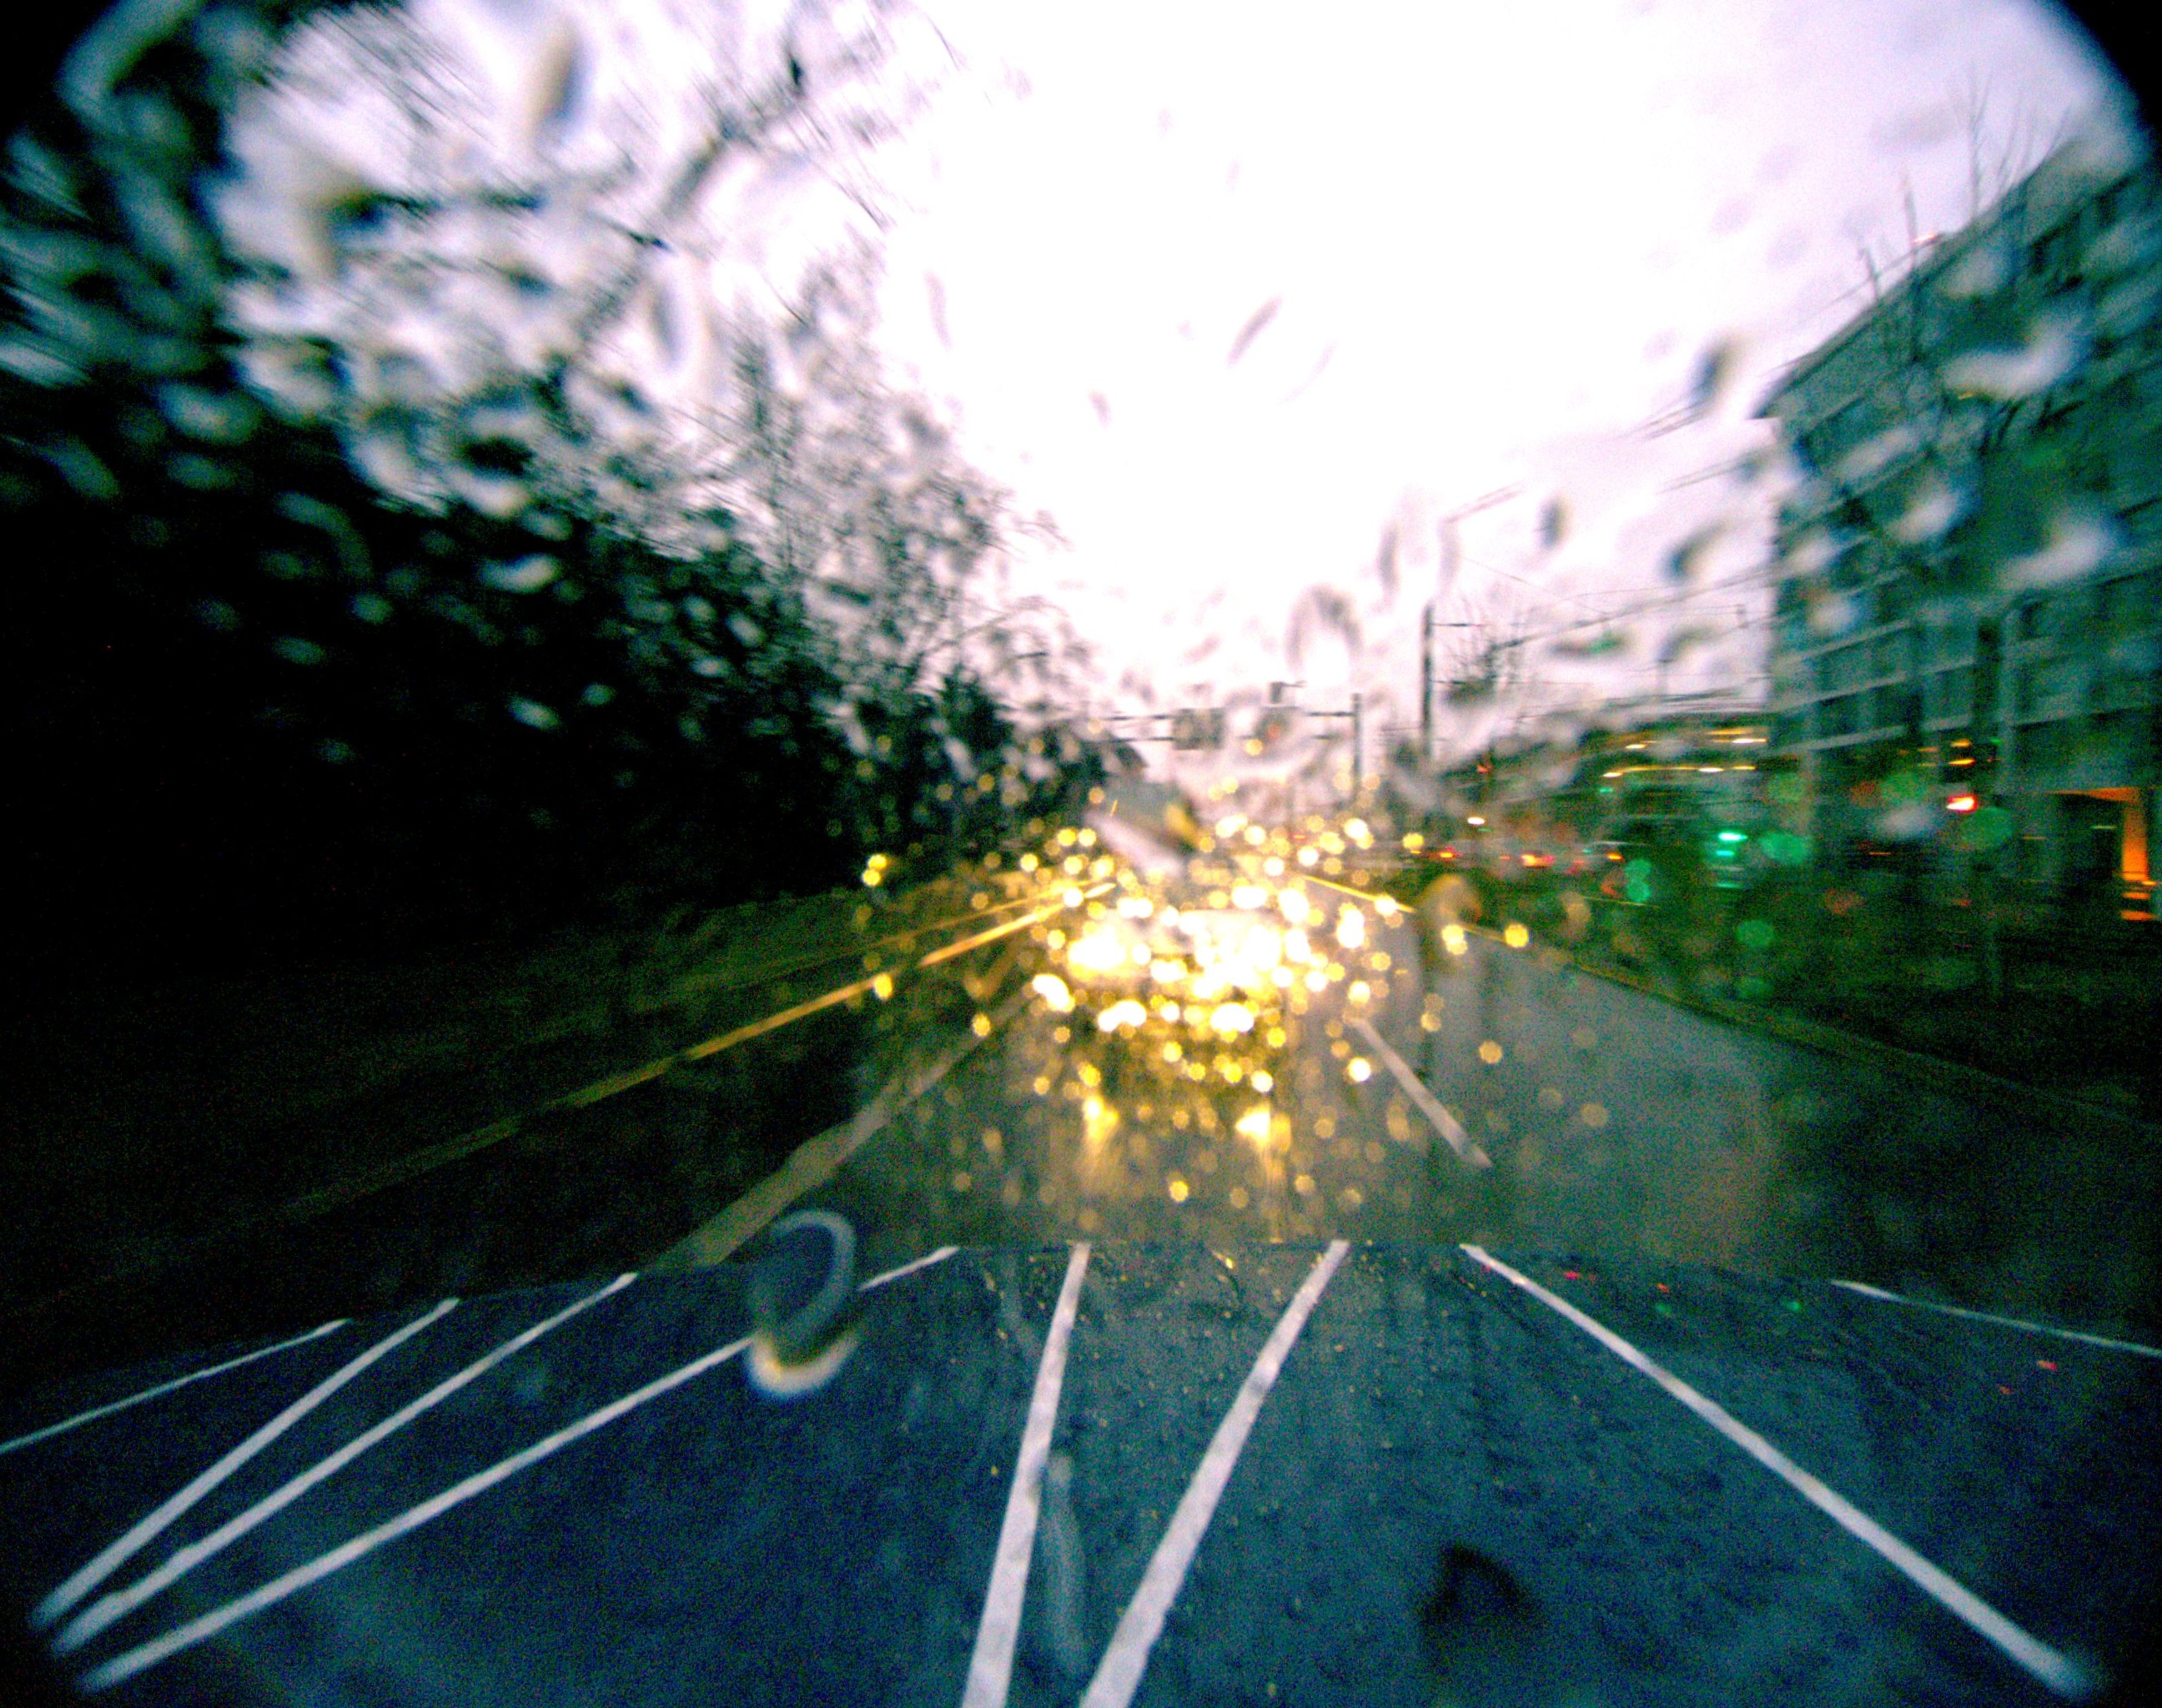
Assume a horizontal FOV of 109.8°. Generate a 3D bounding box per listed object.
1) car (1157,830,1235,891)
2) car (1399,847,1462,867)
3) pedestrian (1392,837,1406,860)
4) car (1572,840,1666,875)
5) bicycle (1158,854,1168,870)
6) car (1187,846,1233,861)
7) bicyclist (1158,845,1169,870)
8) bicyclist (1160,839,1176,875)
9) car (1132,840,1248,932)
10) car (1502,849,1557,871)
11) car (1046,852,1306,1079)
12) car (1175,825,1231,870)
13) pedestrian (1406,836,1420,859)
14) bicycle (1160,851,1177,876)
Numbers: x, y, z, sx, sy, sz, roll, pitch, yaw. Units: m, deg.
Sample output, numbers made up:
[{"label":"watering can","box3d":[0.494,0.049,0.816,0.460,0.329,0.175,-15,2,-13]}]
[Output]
[{"label":"car","box3d":[3.511,0.138,22.835,2.071,1.618,4.270,-1,1,10]},{"label":"car","box3d":[26.295,0.208,57.180,4.246,1.392,2.116,1,1,26]},{"label":"pedestrian","box3d":[26.205,-0.458,62.681,0.710,1.795,0.769,-2,2,-15]},{"label":"car","box3d":[27.111,0.119,38.519,2.084,1.659,5.048,1,1,13]},{"label":"bicycle","box3d":[5.741,0.561,53.090,0.691,1.036,1.722,-2,1,6]},{"label":"car","box3d":[11.949,-0.056,70.129,3.992,1.267,1.819,1,1,15]},{"label":"bicyclist","box3d":[5.740,0.242,52.950,0.691,1.675,0.593,-2,2,5]},{"label":"bicyclist","box3d":[5.612,0.188,48.855,0.967,2.210,0.935,-1,2,8]},{"label":"car","box3d":[2.278,0.563,16.011,2.072,1.618,4.270,-2,1,8]},{"label":"car","box3d":[29.371,0.382,49.926,1.815,1.300,4.002,1,1,10]},{"label":"car","box3d":[1.031,0.789,7.635,1.884,1.552,4.173,1,1,10]},{"label":"car","box3d":[4.856,-0.277,30.166,1.997,1.618,4.270,-1,1,10]},{"label":"pedestrian","box3d":[27.105,-0.521,62.087,0.711,1.795,0.768,-2,2,-23]},{"label":"bicycle","box3d":[5.627,0.570,48.755,0.967,1.442,3.391,-1,1,8]}]
